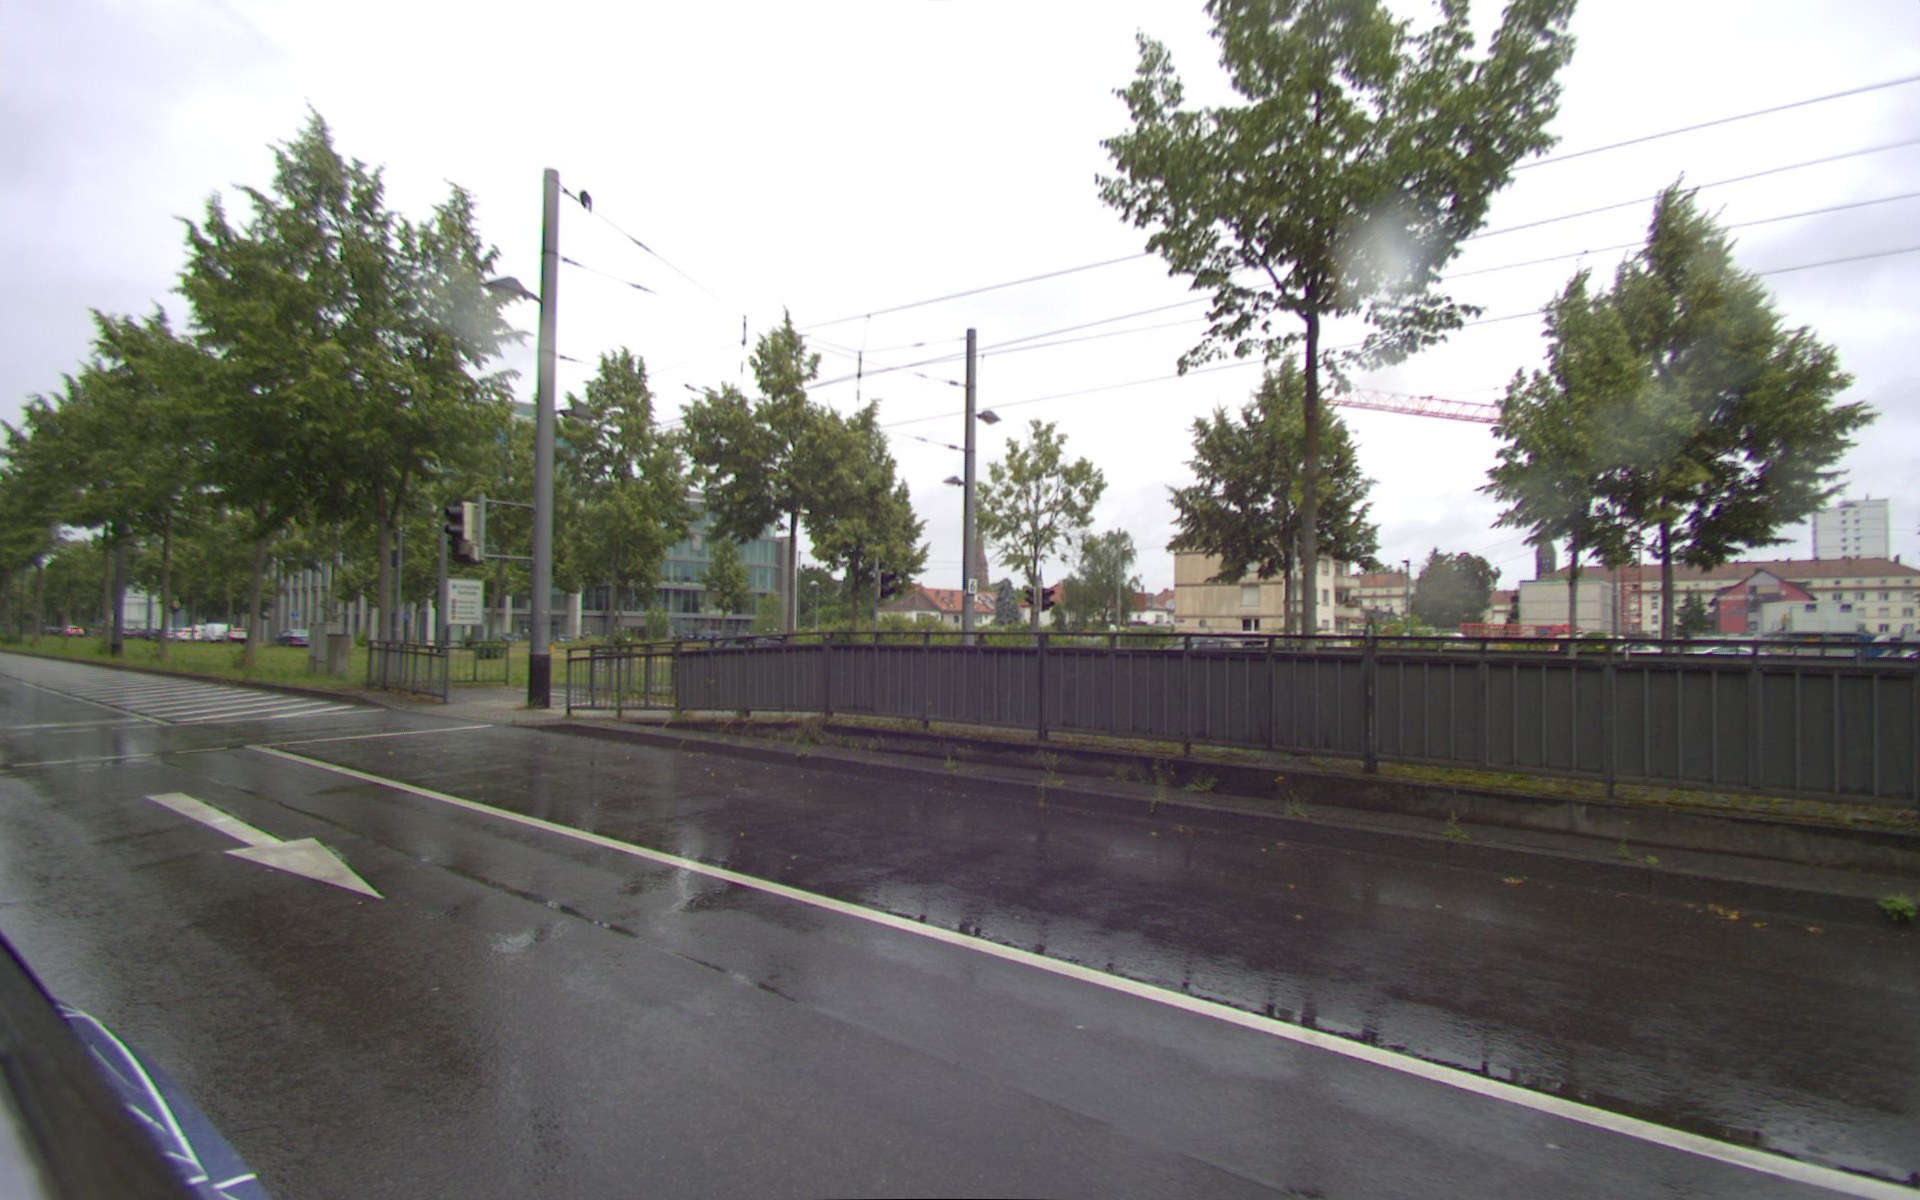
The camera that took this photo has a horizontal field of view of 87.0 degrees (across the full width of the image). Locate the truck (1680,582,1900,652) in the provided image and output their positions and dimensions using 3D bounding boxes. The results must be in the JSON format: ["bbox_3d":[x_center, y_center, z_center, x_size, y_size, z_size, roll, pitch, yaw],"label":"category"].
[{"bbox_3d":[72.276,1.686,88.853,13.214,5.438,6.158,-2,-4,21],"label":"truck"}]

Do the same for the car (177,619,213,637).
[{"bbox_3d":[-82.427,3.013,109.003,5.024,1.664,1.931,-4,-5,39],"label":"car"}]

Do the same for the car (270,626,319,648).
[{"bbox_3d":[-45.103,2.490,68.533,4.974,1.307,1.473,0,-3,41],"label":"car"}]

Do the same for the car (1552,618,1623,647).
[{"bbox_3d":[42.967,2.244,69.409,3.985,1.830,1.810,-3,-5,31],"label":"car"}]

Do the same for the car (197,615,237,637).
[{"bbox_3d":[-76.287,2.671,103.908,5.371,2.022,2.243,-5,-5,42],"label":"car"}]

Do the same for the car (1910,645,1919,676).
[{"bbox_3d":[64.657,3.887,65.788,3.997,2.029,1.973,-4,-5,41],"label":"car"}]

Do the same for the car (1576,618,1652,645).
[{"bbox_3d":[41.689,2.045,64.512,3.810,1.531,1.722,-4,-5,41],"label":"car"}]

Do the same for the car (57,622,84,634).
[{"bbox_3d":[-111.084,3.474,126.413,4.573,1.463,1.930,-2,-3,41],"label":"car"}]

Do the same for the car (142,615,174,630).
[{"bbox_3d":[-89.102,2.515,112.434,3.957,1.506,1.931,-4,-5,39],"label":"car"}]

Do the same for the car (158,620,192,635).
[{"bbox_3d":[-81.590,2.889,105.129,4.573,1.525,1.930,-2,-3,41],"label":"car"}]

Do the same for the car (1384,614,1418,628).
[{"bbox_3d":[46.915,2.241,107.633,3.247,1.222,1.471,-3,-4,23],"label":"car"}]

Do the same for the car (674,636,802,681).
[{"bbox_3d":[-8.887,2.297,40.247,5.494,1.620,1.931,-1,-3,39],"label":"car"}]

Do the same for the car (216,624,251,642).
[{"bbox_3d":[-70.547,3.193,98.256,4.577,1.762,1.929,-2,-3,44],"label":"car"}]

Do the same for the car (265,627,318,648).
[{"bbox_3d":[-45.022,2.551,68.125,4.847,1.276,1.533,-3,-4,39],"label":"car"}]

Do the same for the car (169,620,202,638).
[{"bbox_3d":[-76.224,2.864,99.553,4.833,1.472,1.928,-5,-6,45],"label":"car"}]

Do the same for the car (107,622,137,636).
[{"bbox_3d":[-98.984,3.413,119.458,4.601,1.396,1.931,-4,-5,40],"label":"car"}]

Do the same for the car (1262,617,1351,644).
[{"bbox_3d":[25.316,2.259,74.077,5.770,1.685,2.026,-4,-5,39],"label":"car"}]

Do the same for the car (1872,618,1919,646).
[{"bbox_3d":[73.191,2.389,76.906,5.506,2.029,1.975,-4,-5,37],"label":"car"}]

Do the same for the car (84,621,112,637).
[{"bbox_3d":[-107.665,3.602,126.378,4.540,1.863,1.930,-3,-4,41],"label":"car"}]
